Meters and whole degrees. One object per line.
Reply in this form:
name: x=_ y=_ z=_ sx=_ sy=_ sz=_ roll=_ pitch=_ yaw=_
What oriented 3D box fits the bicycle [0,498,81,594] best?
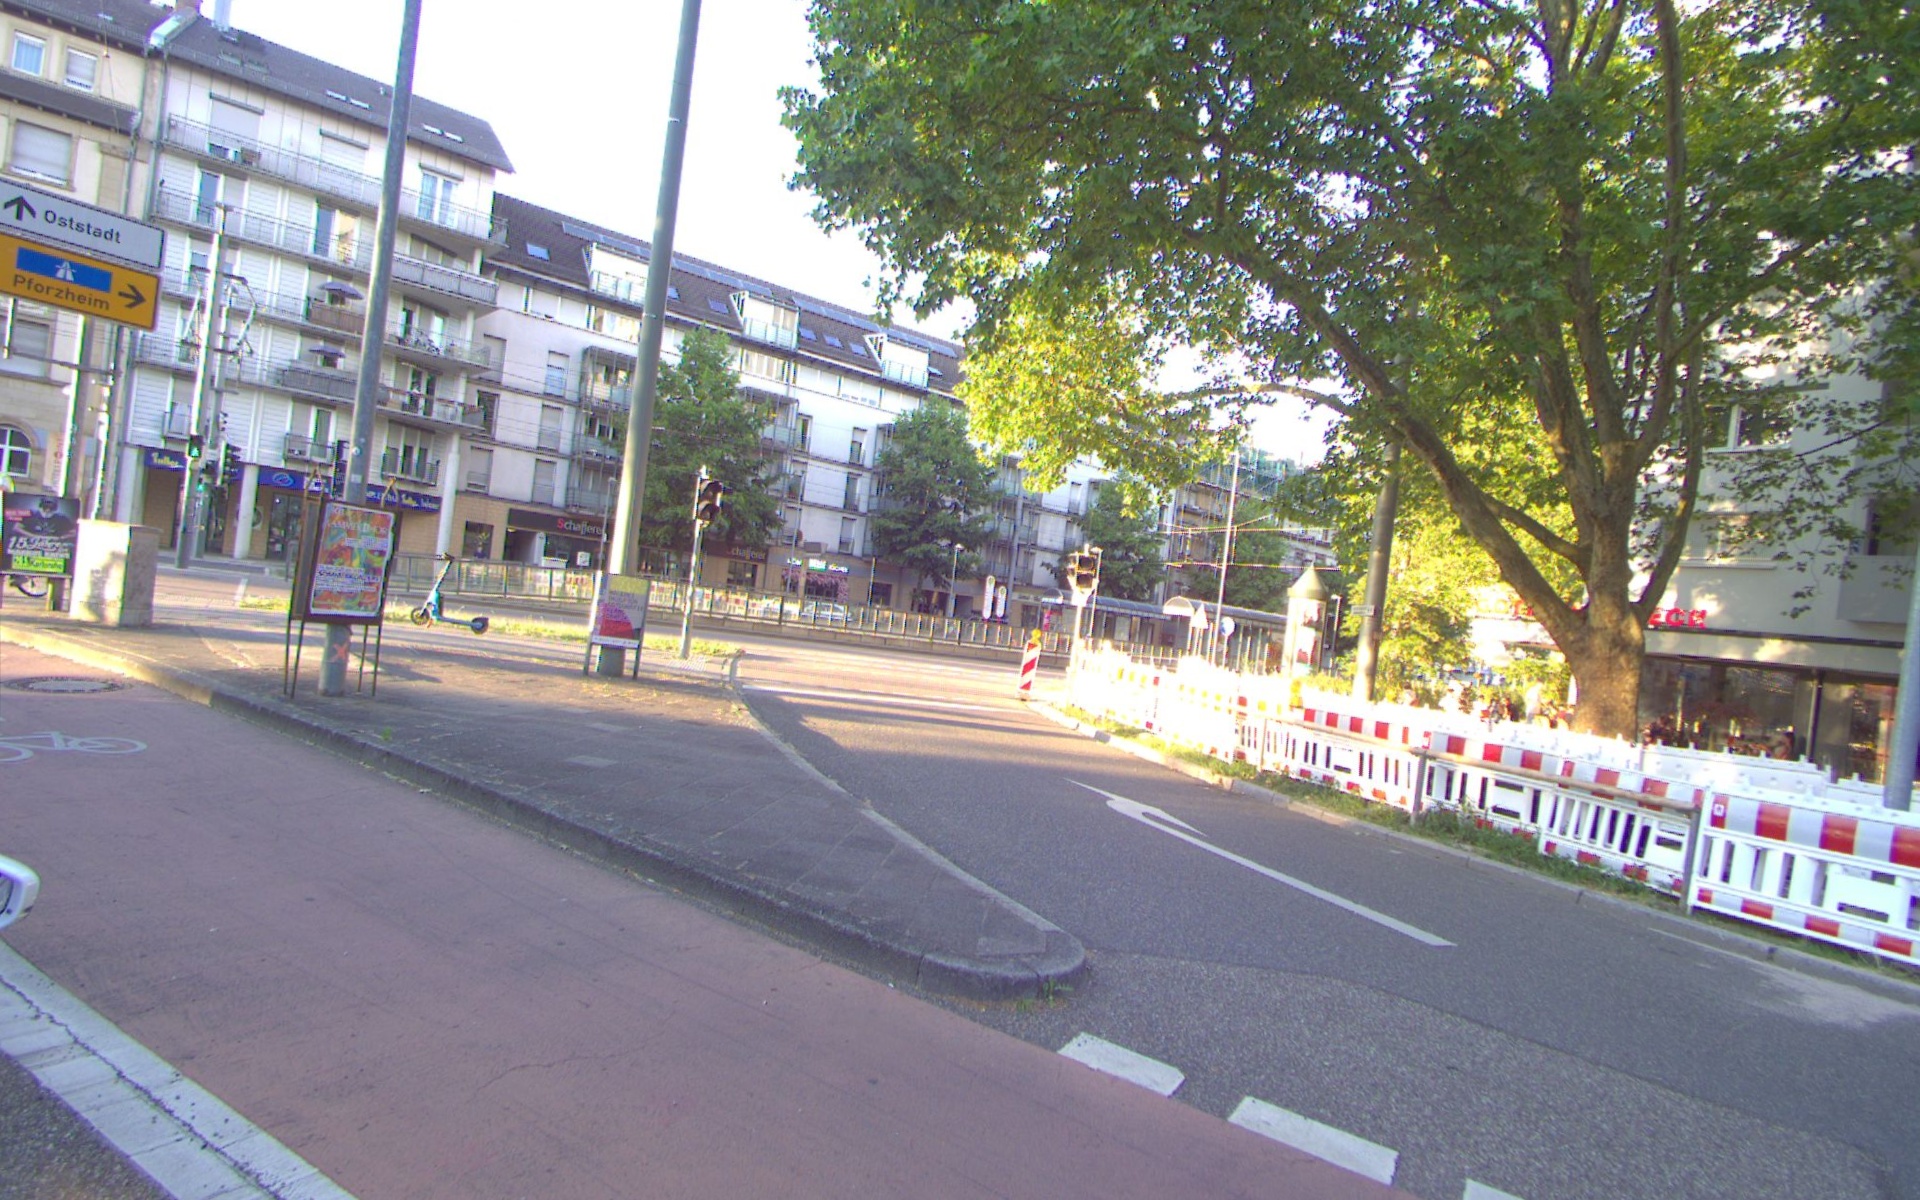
bicycle: x=-12.018 y=-0.721 z=12.287 sx=0.617 sy=1.122 sz=2.073 roll=7 pitch=-2 yaw=0

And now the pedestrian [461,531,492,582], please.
pedestrian: x=-22.325 y=-2.008 z=46.462 sx=0.864 sy=2.234 sz=0.812 roll=8 pitch=-1 yaw=-39

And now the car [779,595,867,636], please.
car: x=-6.992 y=0.790 z=51.375 sx=3.964 sy=1.503 sz=1.833 roll=9 pitch=-2 yaw=-34

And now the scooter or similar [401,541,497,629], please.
scooter or similar: x=-8.410 y=-0.238 z=16.605 sx=1.217 sy=1.264 sz=0.513 roll=8 pitch=-1 yaw=-19

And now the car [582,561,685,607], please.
car: x=-14.875 y=-0.714 z=45.856 sx=3.970 sy=1.503 sz=1.830 roll=9 pitch=-2 yaw=-39

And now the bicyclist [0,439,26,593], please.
bicyclist: x=-11.983 y=-1.061 z=12.098 sx=0.617 sy=1.845 sz=0.699 roll=7 pitch=-1 yaw=0

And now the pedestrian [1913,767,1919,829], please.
pedestrian: x=15.712 y=2.884 z=15.831 sx=0.733 sy=1.607 sz=0.641 roll=7 pitch=-1 yaw=25
